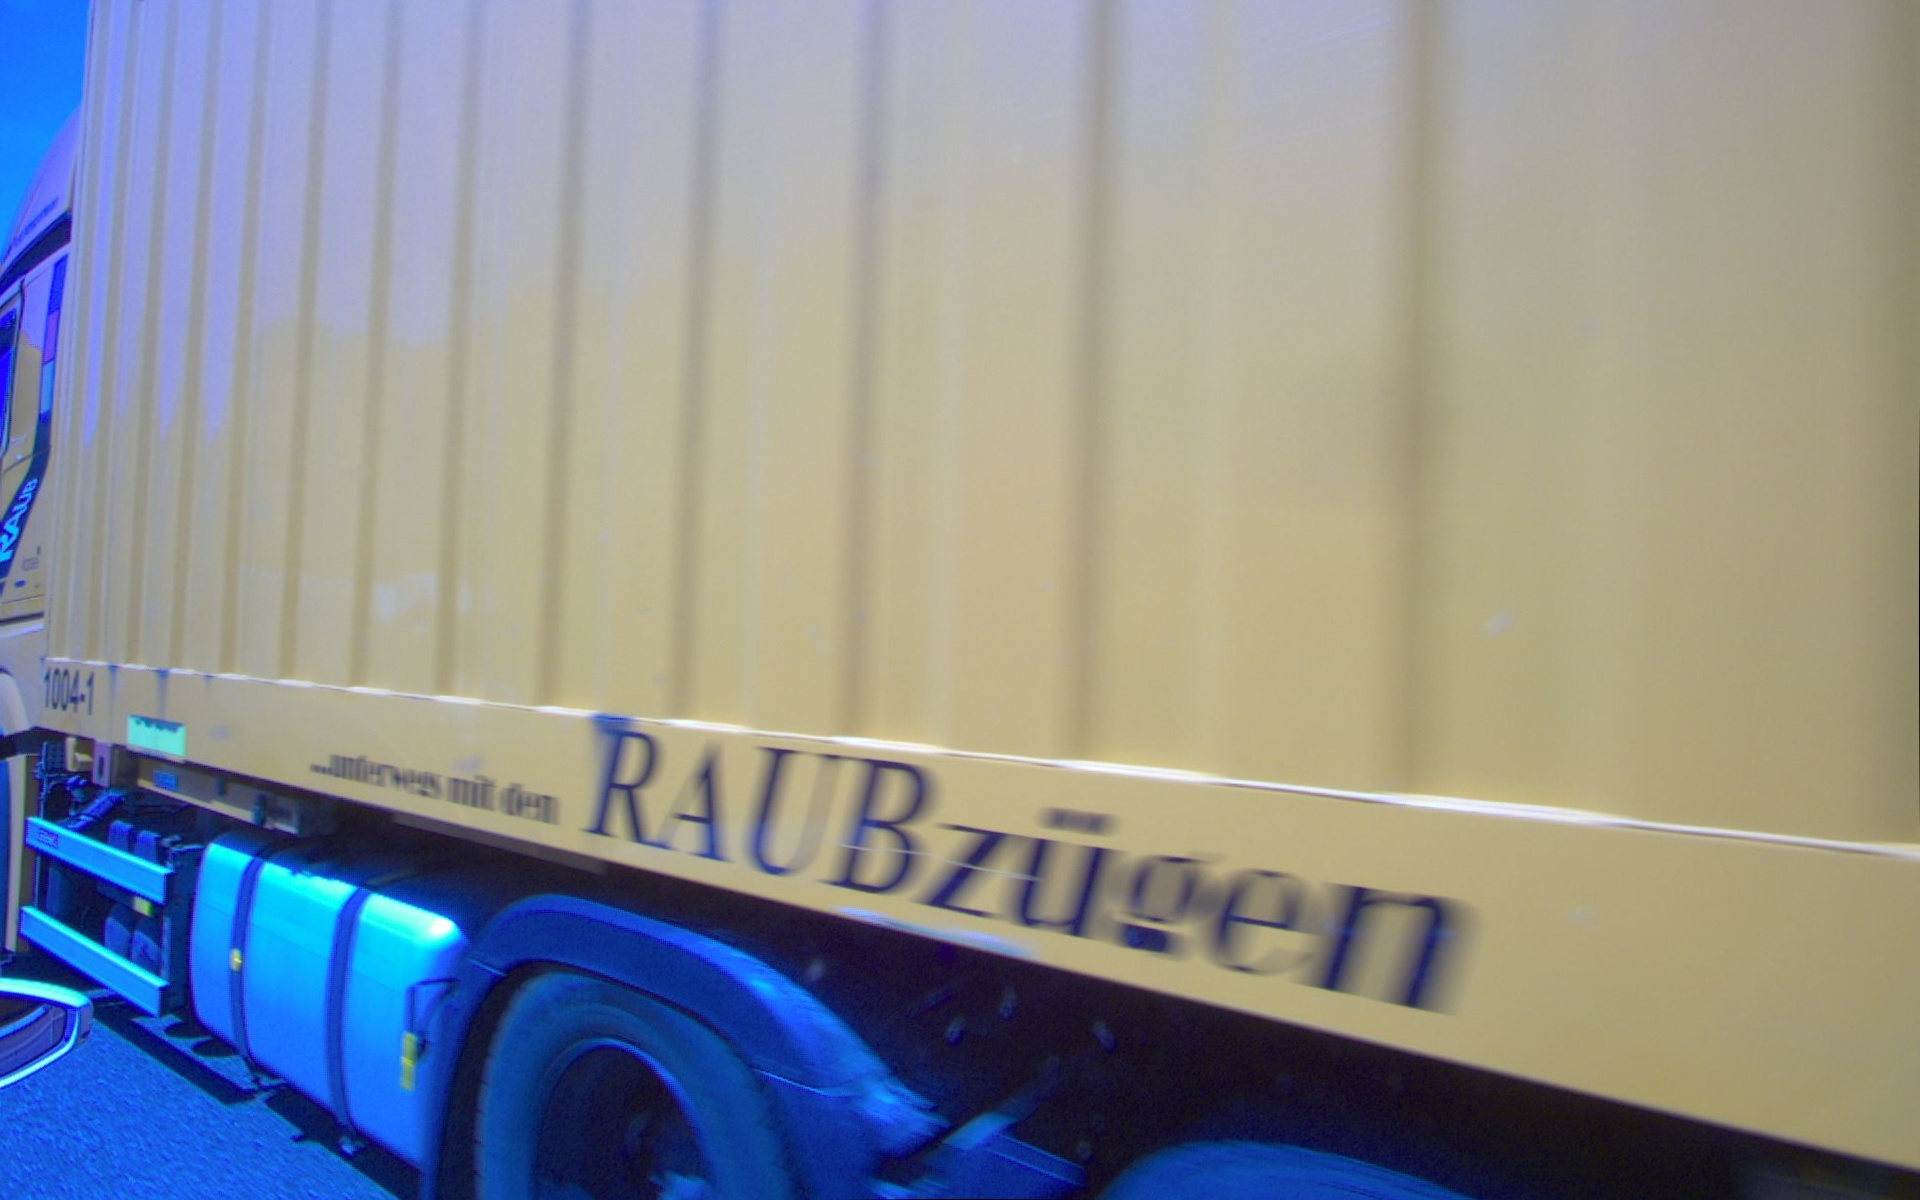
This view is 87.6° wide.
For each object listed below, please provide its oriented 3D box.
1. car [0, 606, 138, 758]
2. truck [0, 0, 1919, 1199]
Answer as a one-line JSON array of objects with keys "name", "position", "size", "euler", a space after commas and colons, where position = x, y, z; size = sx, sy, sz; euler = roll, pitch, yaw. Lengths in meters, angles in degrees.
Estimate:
[{"name": "car", "position": [-12.491, 0.976, 12.900], "size": [4.048, 1.731, 1.987], "euler": [-1, 0, 36]}, {"name": "truck", "position": [-0.785, -0.389, 3.506], "size": [9.860, 3.995, 2.601], "euler": [-1, -2, 36]}]
